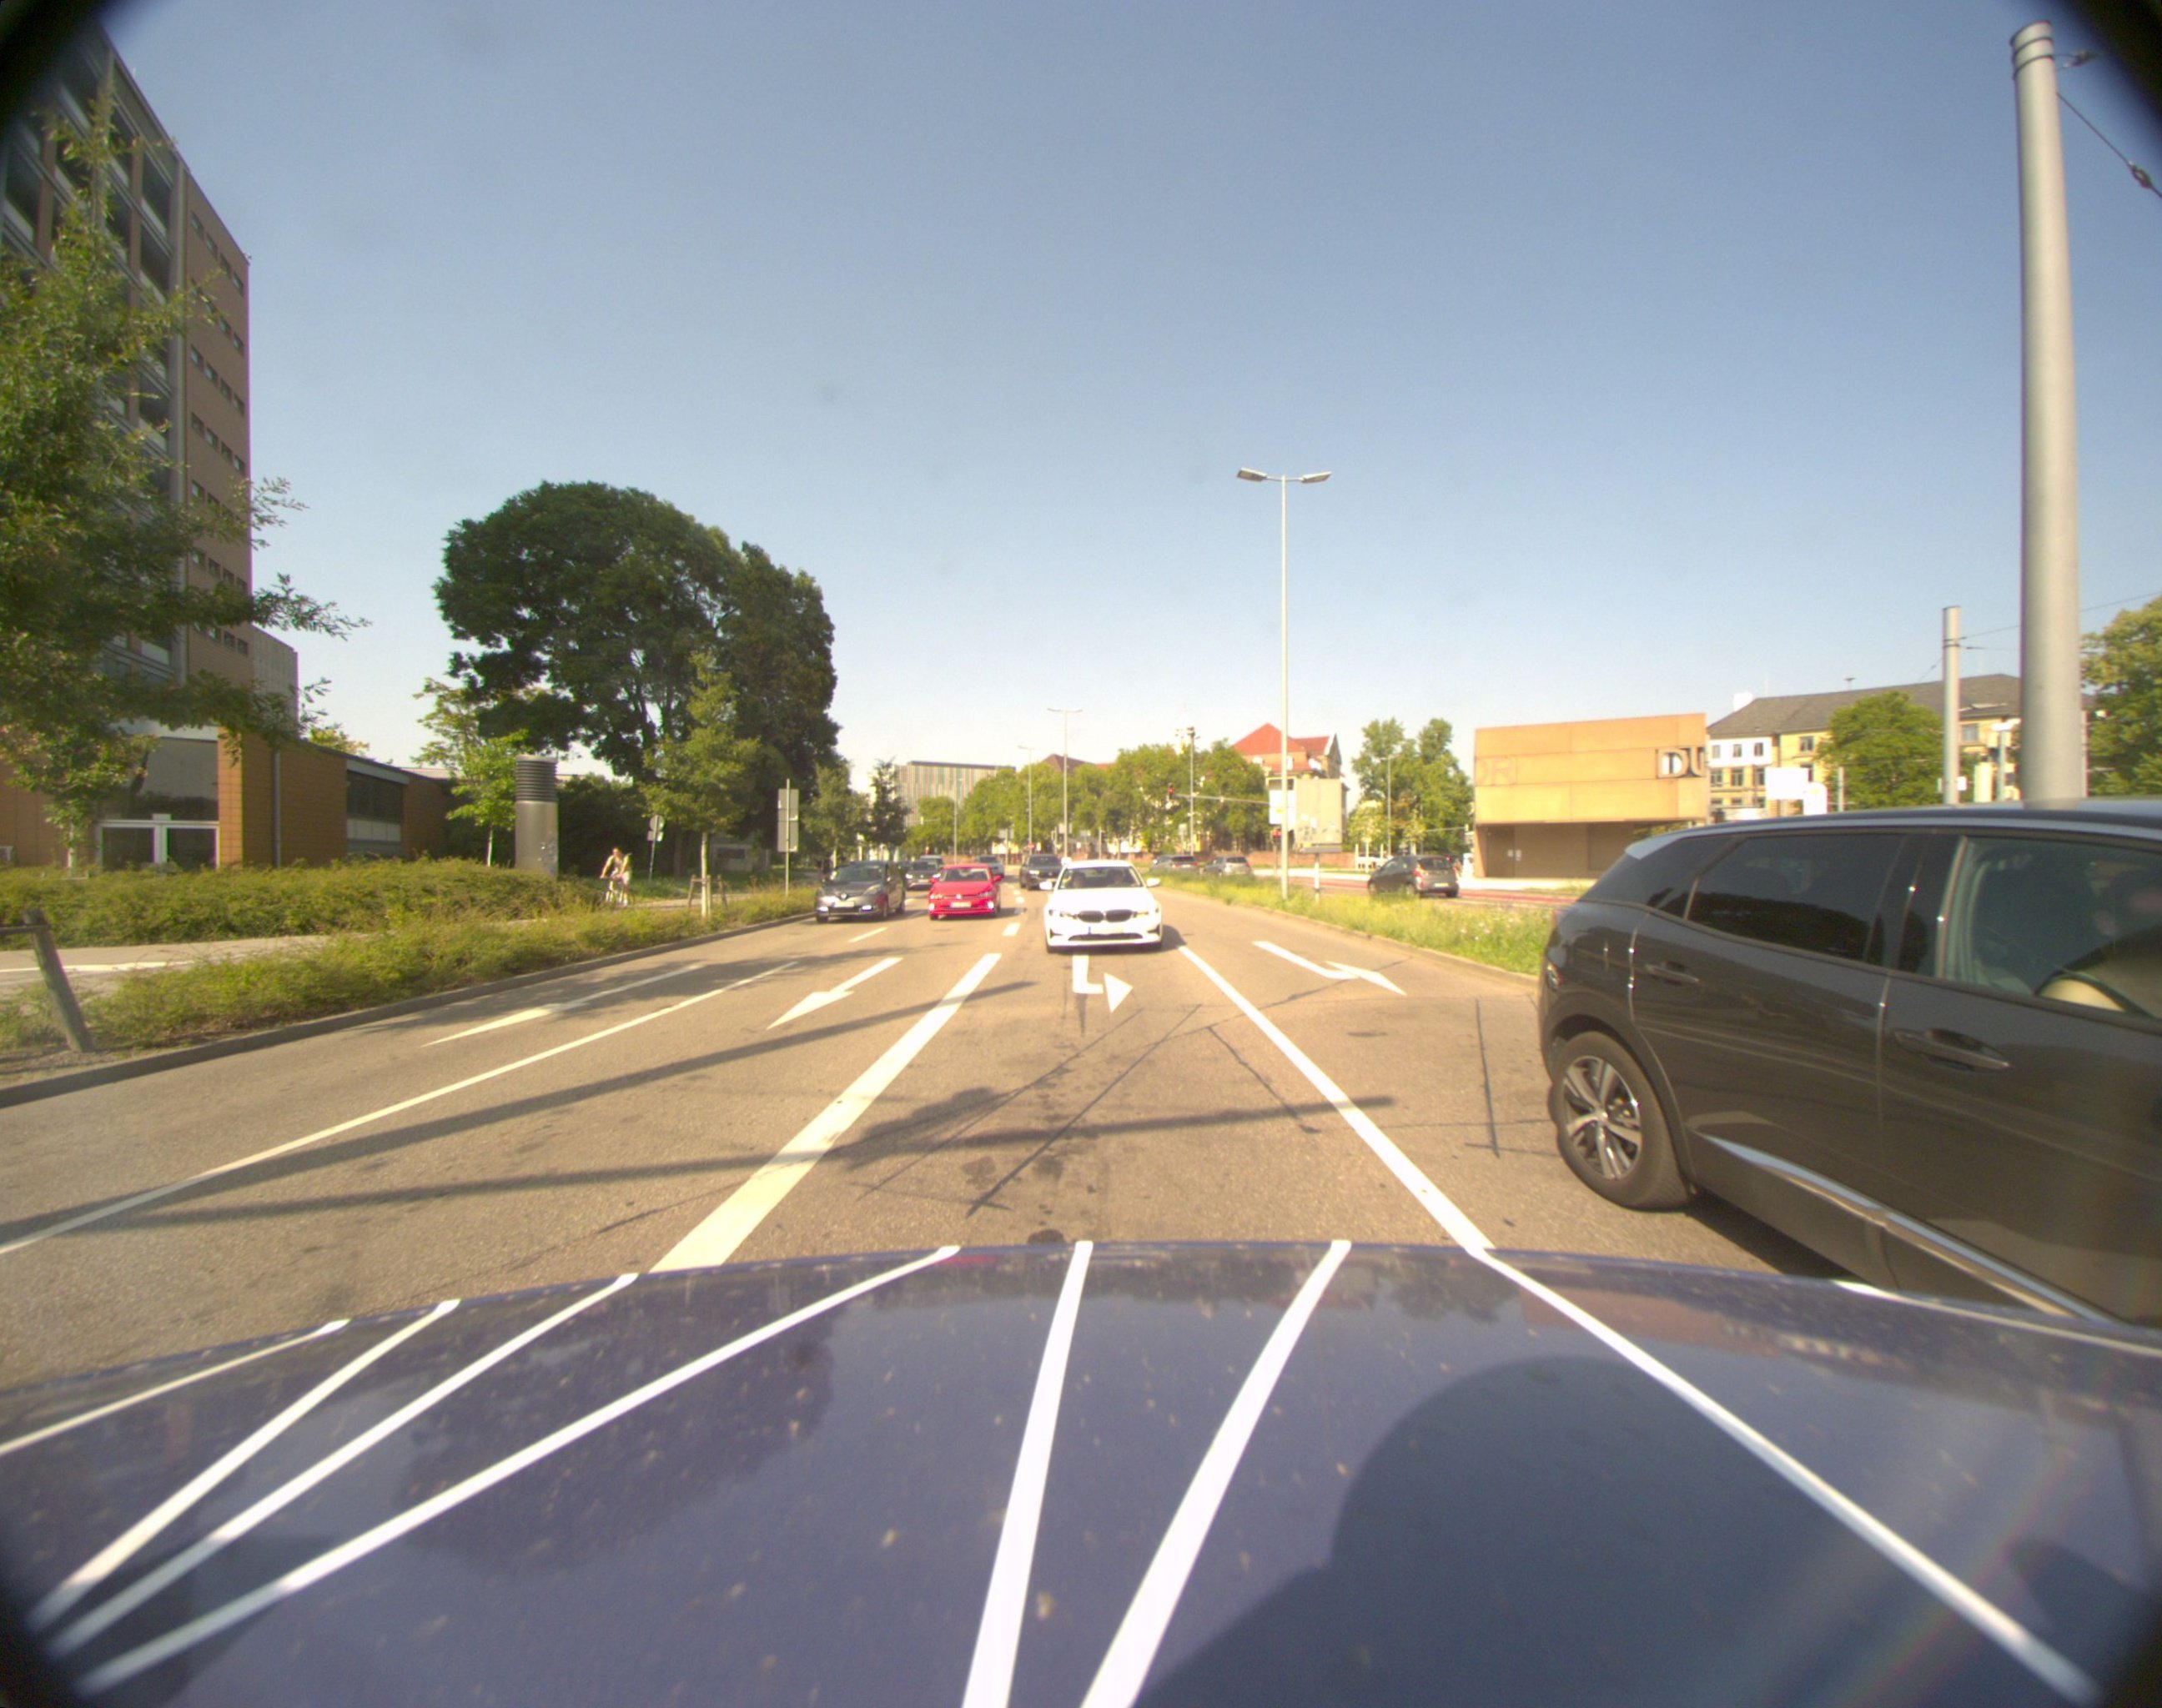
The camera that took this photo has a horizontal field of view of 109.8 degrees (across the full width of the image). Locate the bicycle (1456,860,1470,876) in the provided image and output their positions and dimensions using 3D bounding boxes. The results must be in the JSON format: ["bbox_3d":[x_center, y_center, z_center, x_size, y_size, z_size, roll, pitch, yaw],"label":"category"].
[{"bbox_3d":[21.461,0.775,42.690,0.591,0.833,1.550,-3,-1,28],"label":"bicycle"}]

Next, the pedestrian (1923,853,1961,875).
[{"bbox_3d":[42.903,0.494,37.883,1.028,1.126,0.739,0,1,19],"label":"pedestrian"}]

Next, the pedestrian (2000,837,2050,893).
[{"bbox_3d":[30.764,0.341,24.764,0.780,1.790,0.700,0,1,-8],"label":"pedestrian"}]

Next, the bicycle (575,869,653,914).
[{"bbox_3d":[-12.779,1.004,20.890,0.773,1.111,2.303,-1,0,-2],"label":"bicycle"}]

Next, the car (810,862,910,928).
[{"bbox_3d":[-6.018,1.048,21.209,1.783,1.596,4.419,0,0,-4],"label":"car"}]

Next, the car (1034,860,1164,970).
[{"bbox_3d":[0.430,0.865,12.760,1.782,1.474,4.535,0,0,5],"label":"car"}]

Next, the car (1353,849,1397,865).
[{"bbox_3d":[30.676,0.345,79.323,4.379,1.624,1.995,0,0,-30],"label":"car"}]

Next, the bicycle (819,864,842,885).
[{"bbox_3d":[-12.484,1.007,37.949,0.721,0.954,1.920,0,0,-7],"label":"bicycle"}]

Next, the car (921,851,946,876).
[{"bbox_3d":[-12.102,0.735,62.078,1.689,1.930,4.366,0,0,-15],"label":"car"}]

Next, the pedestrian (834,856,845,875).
[{"bbox_3d":[-23.307,1.116,73.342,0.961,1.772,1.001,2,0,-14],"label":"pedestrian"}]

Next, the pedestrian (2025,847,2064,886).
[{"bbox_3d":[43.906,0.557,34.647,0.828,1.728,0.837,0,1,30],"label":"pedestrian"}]

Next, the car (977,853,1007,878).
[{"bbox_3d":[-6.773,0.887,57.348,1.784,1.710,4.529,-3,0,-12],"label":"car"}]

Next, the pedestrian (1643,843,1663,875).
[{"bbox_3d":[30.748,0.276,40.872,0.717,1.727,0.858,0,1,26],"label":"pedestrian"}]

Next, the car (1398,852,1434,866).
[{"bbox_3d":[36.463,0.552,82.705,3.856,1.489,1.622,-1,1,-31],"label":"car"}]

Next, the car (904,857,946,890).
[{"bbox_3d":[-8.116,1.008,39.869,1.941,1.597,4.530,-1,0,-9],"label":"car"}]

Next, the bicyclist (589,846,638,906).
[{"bbox_3d":[-12.780,0.580,20.797,0.773,1.584,0.924,-1,1,-2],"label":"bicyclist"}]

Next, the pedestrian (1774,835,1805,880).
[{"bbox_3d":[28.263,0.142,30.321,0.699,1.790,0.781,0,1,25],"label":"pedestrian"}]

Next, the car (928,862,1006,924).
[{"bbox_3d":[-3.084,1.003,21.276,1.687,1.483,4.371,0,0,-2],"label":"car"}]

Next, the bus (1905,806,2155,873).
[{"bbox_3d":[48.691,-0.672,39.838,3.290,2.960,12.820,0,0,28],"label":"bus"}]

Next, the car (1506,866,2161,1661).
[{"bbox_3d":[2.924,0.808,1.600,1.687,1.483,4.372,0,0,1],"label":"car"}]

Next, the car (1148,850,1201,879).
[{"bbox_3d":[5.316,0.568,43.761,1.700,1.608,4.456,0,0,-12],"label":"car"}]

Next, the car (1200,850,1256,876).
[{"bbox_3d":[8.531,0.503,44.435,1.820,1.425,4.220,0,0,-10],"label":"car"}]

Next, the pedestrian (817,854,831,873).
[{"bbox_3d":[-18.813,0.688,55.651,0.727,1.435,0.857,0,1,-3],"label":"pedestrian"}]

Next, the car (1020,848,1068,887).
[{"bbox_3d":[-1.866,0.671,36.914,1.784,1.682,4.530,-3,0,-9],"label":"car"}]

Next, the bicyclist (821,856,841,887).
[{"bbox_3d":[-12.482,0.871,37.944,0.721,1.504,1.004,0,1,-5],"label":"bicyclist"}]

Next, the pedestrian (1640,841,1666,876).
[{"bbox_3d":[28.706,0.224,38.139,0.864,1.695,0.733,0,1,24],"label":"pedestrian"}]

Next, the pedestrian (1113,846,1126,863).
[{"bbox_3d":[4.537,0.102,90.366,1.080,2.002,1.316,-1,1,-21],"label":"pedestrian"}]

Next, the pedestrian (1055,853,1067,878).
[{"bbox_3d":[-1.366,0.801,52.320,0.669,1.689,0.691,0,1,-12],"label":"pedestrian"}]

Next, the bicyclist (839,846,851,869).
[{"bbox_3d":[-17.364,0.287,55.889,0.774,1.666,0.923,-1,1,-12],"label":"bicyclist"}]

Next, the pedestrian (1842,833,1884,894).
[{"bbox_3d":[23.232,0.271,22.587,0.699,1.790,0.781,0,1,32],"label":"pedestrian"}]

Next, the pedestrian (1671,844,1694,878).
[{"bbox_3d":[28.940,0.323,36.575,0.717,1.621,0.858,0,1,26],"label":"pedestrian"}]

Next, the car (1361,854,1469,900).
[{"bbox_3d":[11.440,0.735,26.329,1.894,1.443,3.673,0,0,-5],"label":"car"}]

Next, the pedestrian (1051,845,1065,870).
[{"bbox_3d":[-1.511,0.207,49.823,0.667,1.644,0.780,0,1,24],"label":"pedestrian"}]

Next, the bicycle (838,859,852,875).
[{"bbox_3d":[-17.368,0.918,55.939,0.774,1.111,2.301,-1,0,-12],"label":"bicycle"}]

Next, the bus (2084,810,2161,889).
[{"bbox_3d":[42.497,-0.156,27.356,2.709,3.090,12.237,0,0,28],"label":"bus"}]
